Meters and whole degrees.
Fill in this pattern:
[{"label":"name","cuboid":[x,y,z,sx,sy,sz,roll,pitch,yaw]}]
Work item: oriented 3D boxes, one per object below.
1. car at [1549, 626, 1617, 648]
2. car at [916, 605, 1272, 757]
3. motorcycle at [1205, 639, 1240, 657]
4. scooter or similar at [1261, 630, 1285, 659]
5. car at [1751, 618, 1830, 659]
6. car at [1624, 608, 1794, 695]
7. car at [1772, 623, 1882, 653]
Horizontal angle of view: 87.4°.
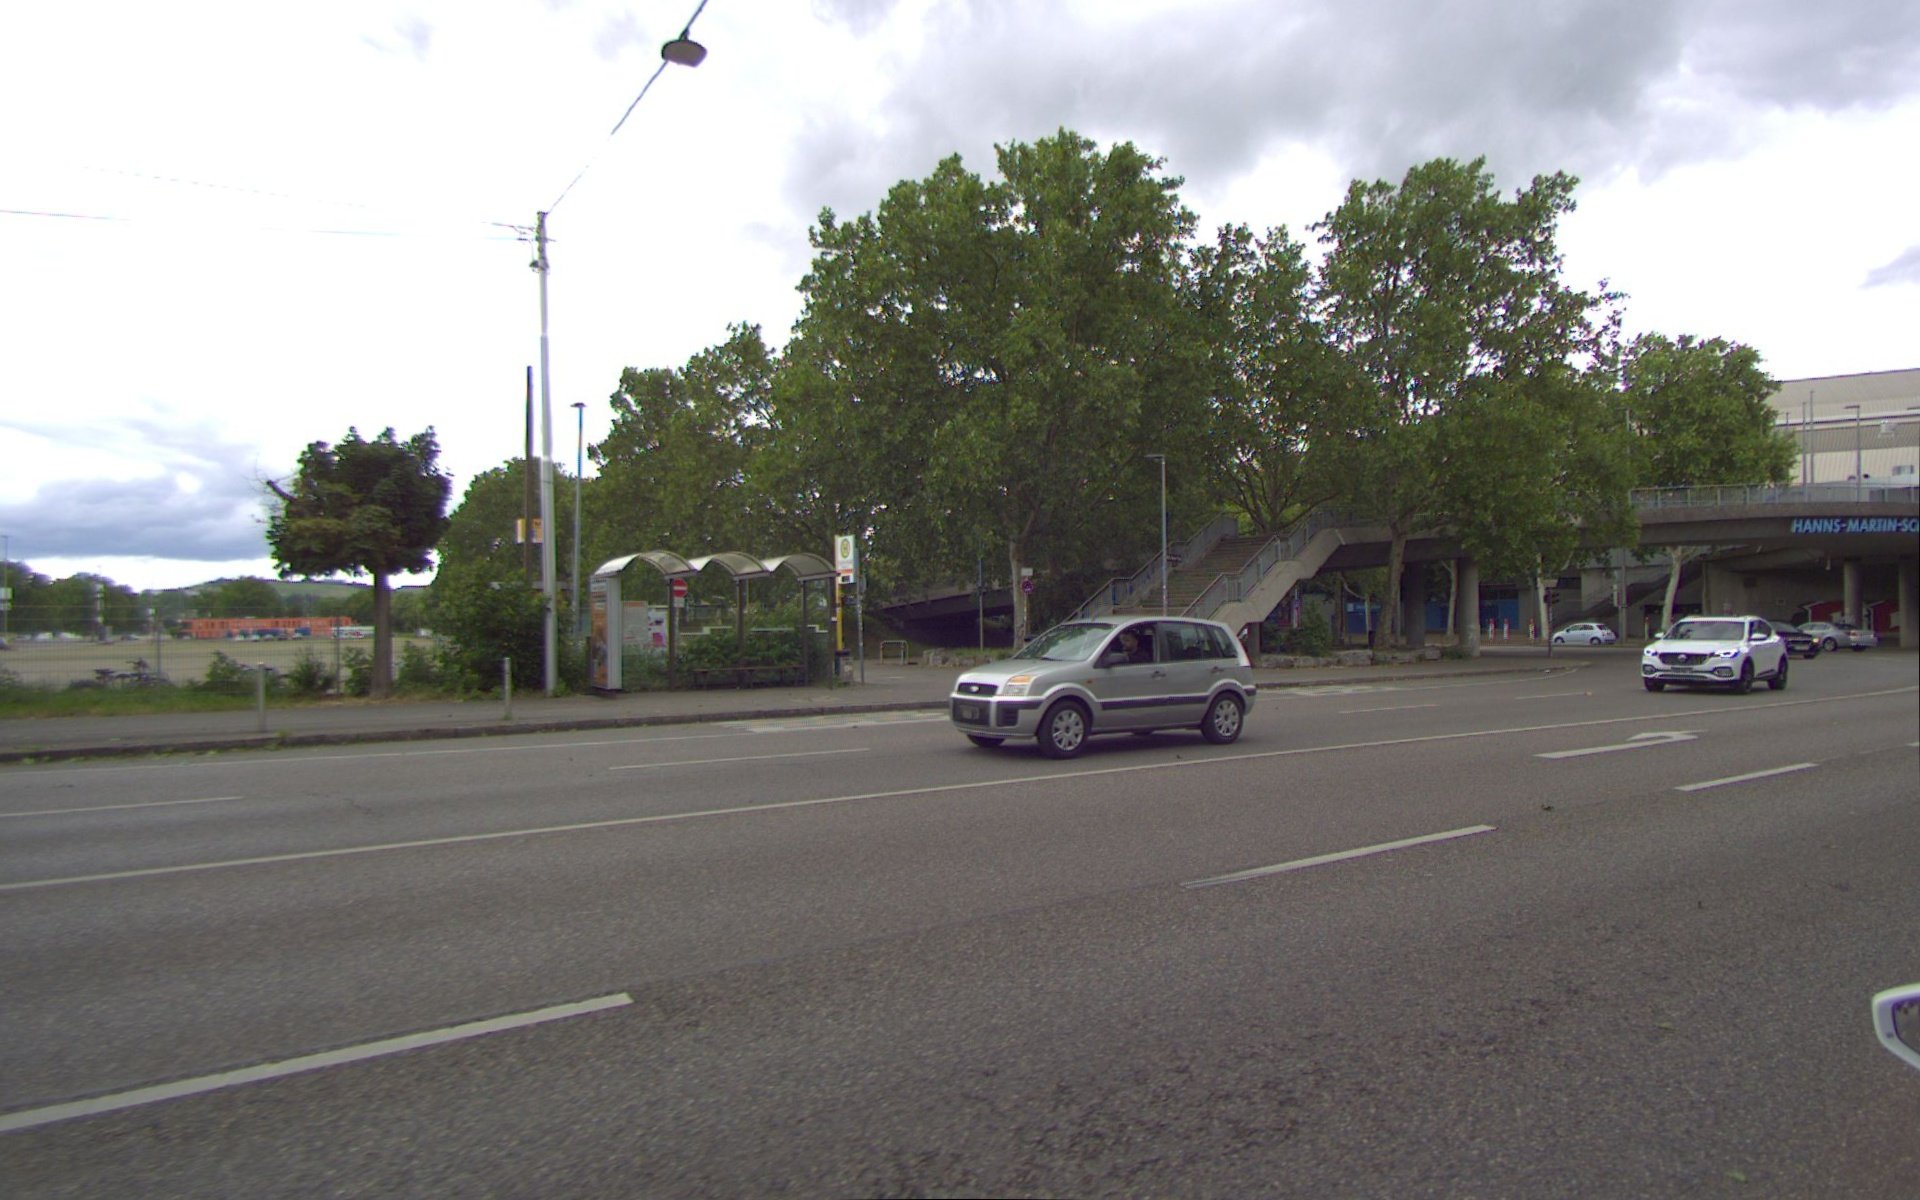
[{"label":"car","cuboid":[39.540,2.355,63.822,1.597,1.330,3.368,1,-1,-30]},{"label":"car","cuboid":[1.661,0.899,12.143,3.957,1.545,1.982,2,-2,-33]},{"label":"motorcycle","cuboid":[13.132,2.404,50.286,1.715,0.862,0.645,1,-2,-27]},{"label":"scooter or similar","cuboid":[14.940,2.122,47.890,1.215,1.335,0.413,3,-4,-33]},{"label":"car","cuboid":[34.406,1.607,41.706,1.744,1.627,4.420,-2,-3,30]},{"label":"car","cuboid":[16.929,1.156,22.626,4.556,1.767,1.978,2,-3,-39]},{"label":"car","cuboid":[44.103,1.896,51.217,1.962,1.437,3.997,1,-1,-6]}]
